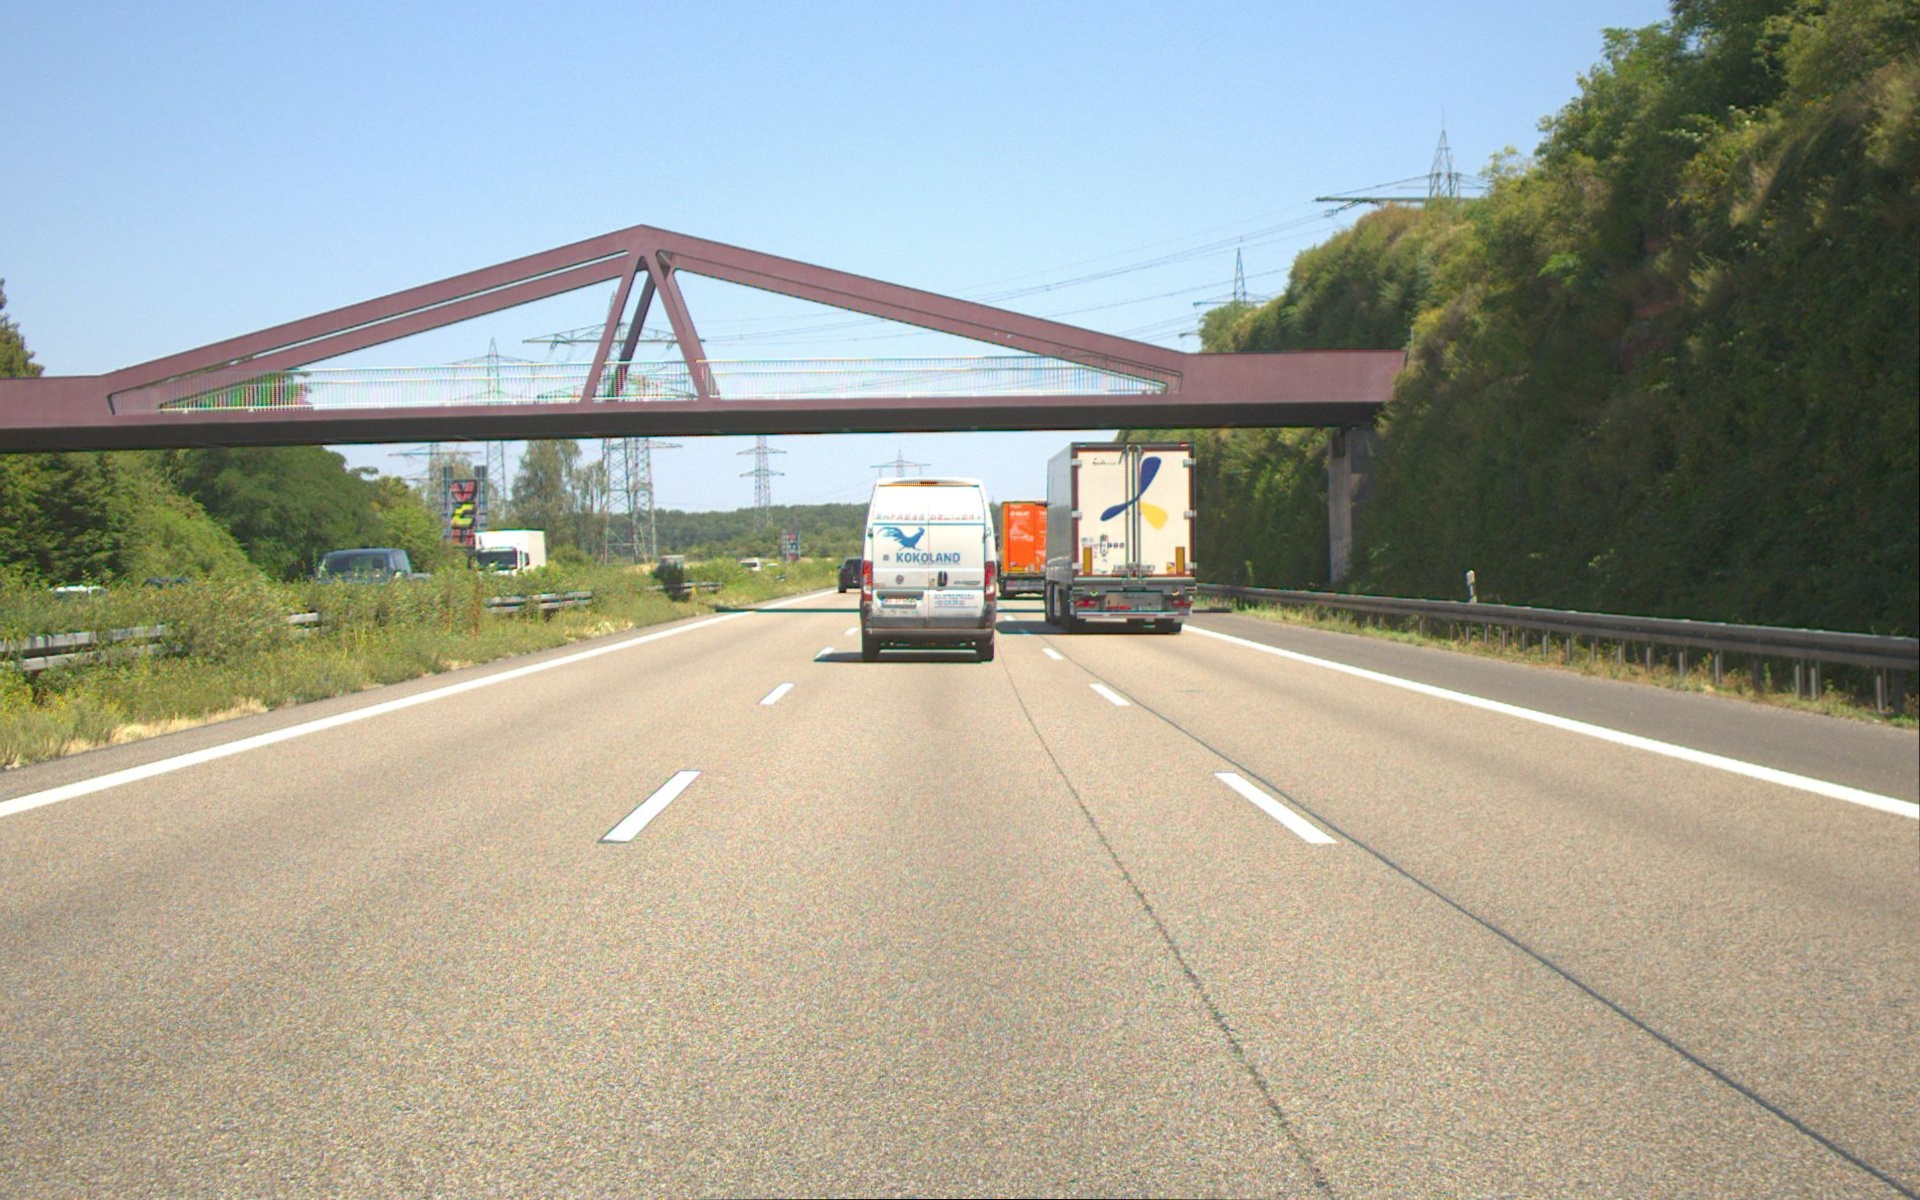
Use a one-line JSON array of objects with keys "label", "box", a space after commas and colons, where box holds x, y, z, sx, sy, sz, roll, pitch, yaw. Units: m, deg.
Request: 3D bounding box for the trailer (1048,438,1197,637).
[{"label": "trailer", "box": [3.500, -1.387, 76.995, 2.637, 4.046, 12.366, 1, 1, 0]}]

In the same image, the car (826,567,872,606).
[{"label": "car", "box": [-5.354, -0.678, 165.995, 1.982, 1.811, 3.813, 1, 1, 1]}]

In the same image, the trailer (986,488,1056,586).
[{"label": "trailer", "box": [2.481, -2.570, 141.163, 2.637, 3.883, 7.069, 1, 1, 0]}]

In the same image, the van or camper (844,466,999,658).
[{"label": "van or camper", "box": [-0.610, -0.602, 53.453, 2.230, 2.772, 5.423, 1, 1, -1]}]

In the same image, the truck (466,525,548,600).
[{"label": "truck", "box": [-22.519, -1.892, 171.378, 2.808, 3.525, 10.189, -2, 1, -1]}]
